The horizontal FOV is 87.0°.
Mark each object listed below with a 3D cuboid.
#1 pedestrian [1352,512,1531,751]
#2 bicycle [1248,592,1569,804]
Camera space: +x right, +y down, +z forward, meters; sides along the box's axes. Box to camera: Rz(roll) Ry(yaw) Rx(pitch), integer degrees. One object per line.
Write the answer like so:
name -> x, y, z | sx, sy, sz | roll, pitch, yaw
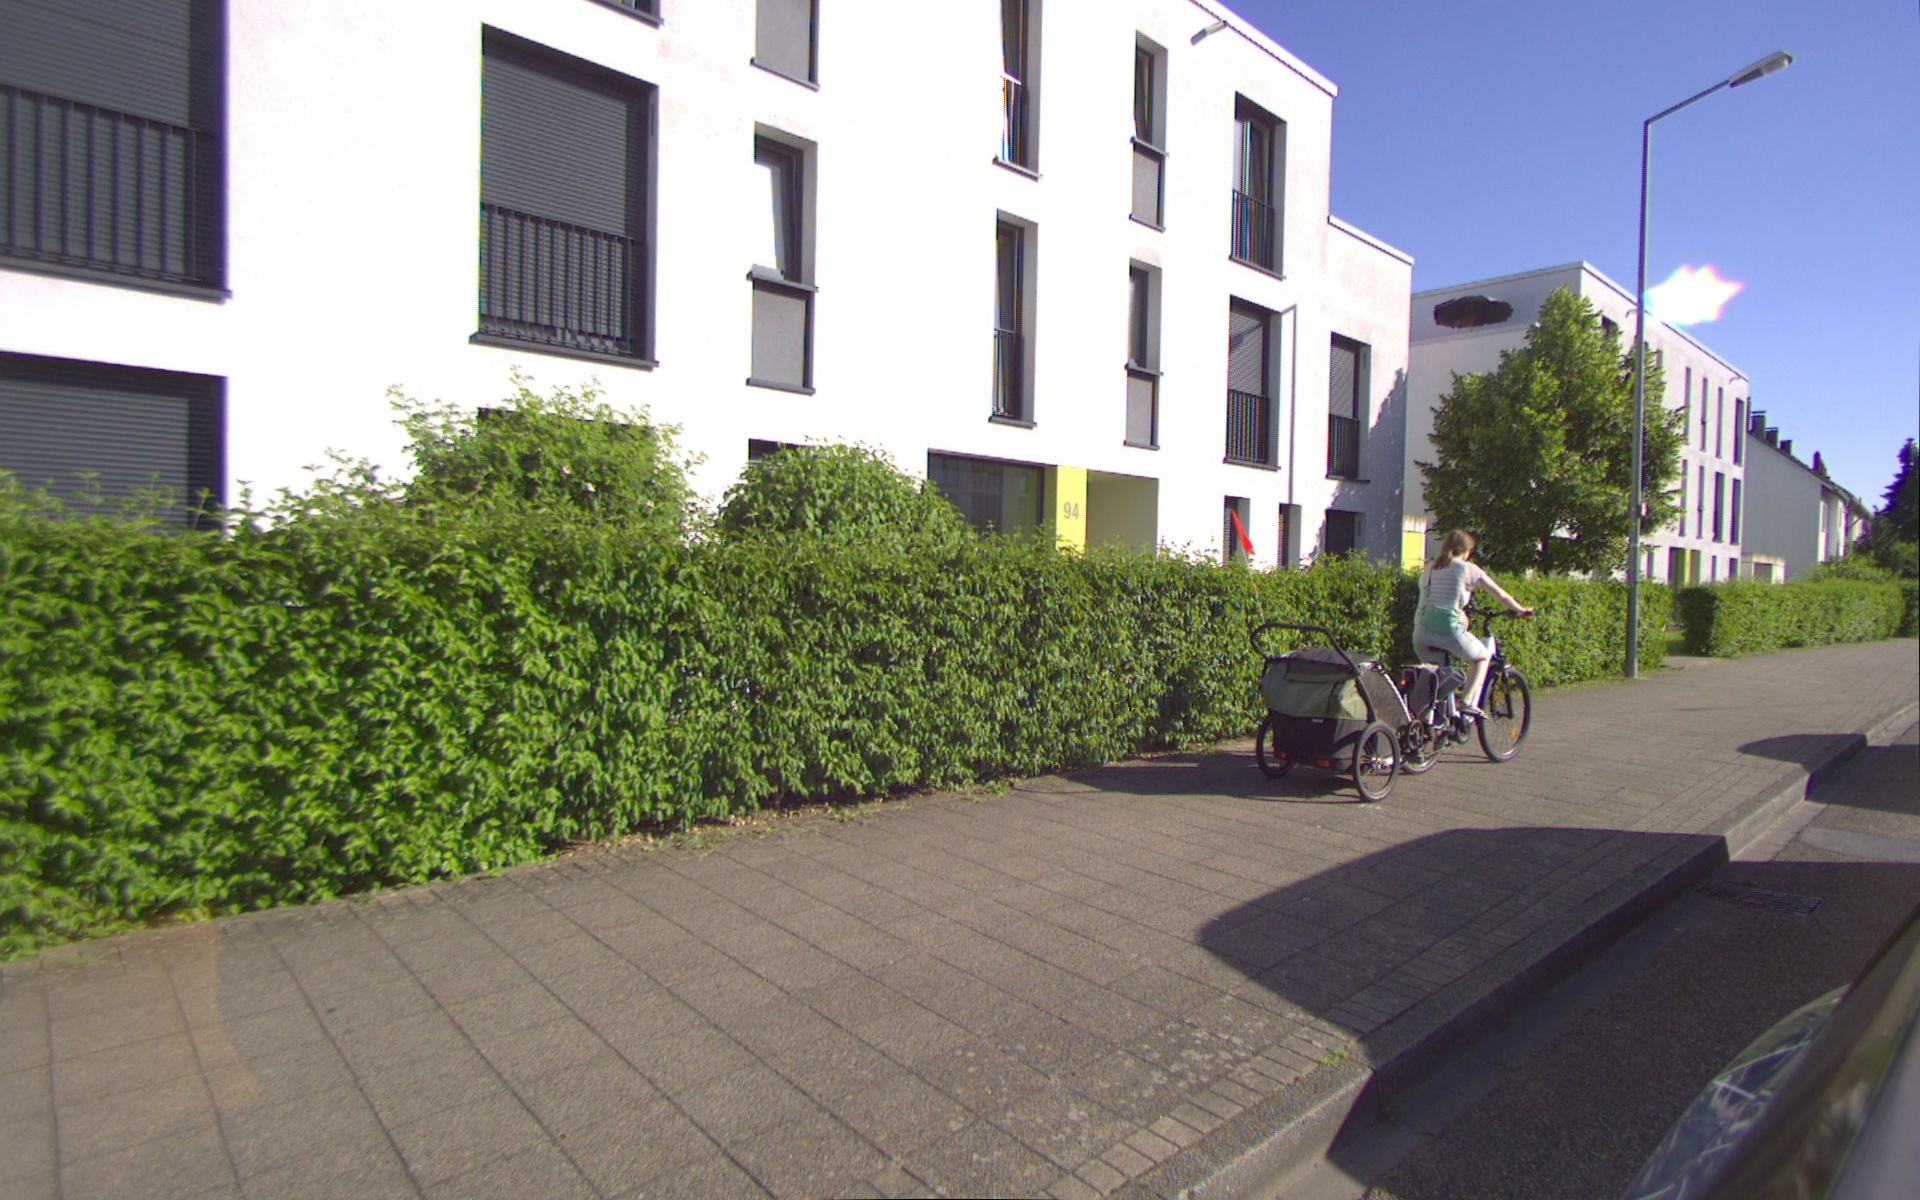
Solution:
pedestrian -> 3.546, 0.192, 7.461 | 0.840, 1.613, 0.912 | 0, 2, -44
bicycle -> 3.327, 0.561, 7.267 | 3.072, 1.187, 0.930 | -1, 3, -43
